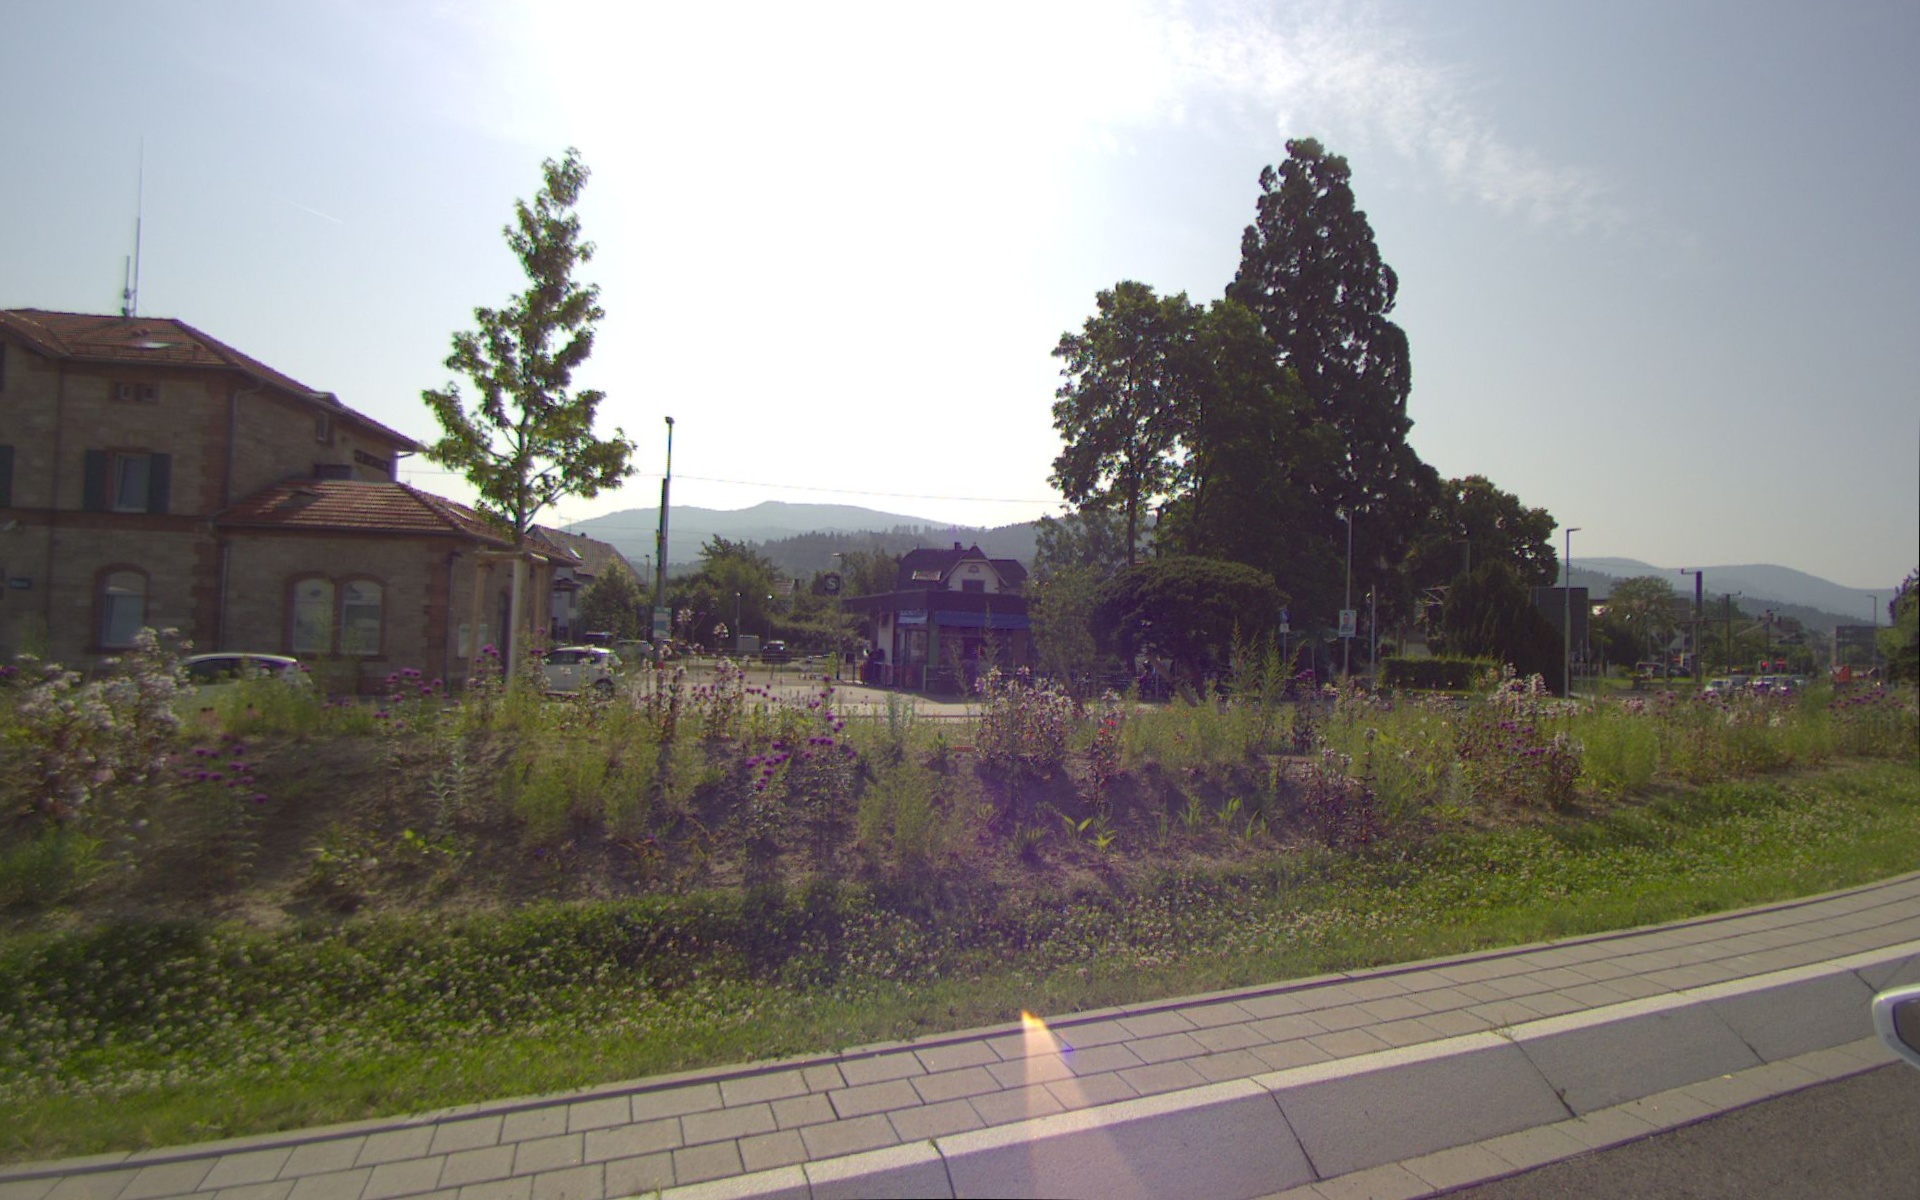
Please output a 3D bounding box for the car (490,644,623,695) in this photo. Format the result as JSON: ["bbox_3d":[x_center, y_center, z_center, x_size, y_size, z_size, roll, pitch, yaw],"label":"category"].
[{"bbox_3d":[-12.202,2.102,30.554,3.474,1.468,1.390,2,-3,-10],"label":"car"}]

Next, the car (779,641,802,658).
[{"bbox_3d":[-14.777,4.340,87.676,1.365,1.382,3.538,1,-3,-1],"label":"car"}]

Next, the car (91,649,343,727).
[{"bbox_3d":[-12.594,1.457,17.159,1.373,1.187,3.227,-1,-4,42],"label":"car"}]

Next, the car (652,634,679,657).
[{"bbox_3d":[-21.076,3.275,71.862,1.585,1.554,3.574,3,-4,-13],"label":"car"}]

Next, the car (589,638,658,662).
[{"bbox_3d":[-20.813,3.117,62.282,3.935,1.358,1.607,3,-4,-17],"label":"car"}]

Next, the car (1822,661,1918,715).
[{"bbox_3d":[36.145,3.460,39.881,3.956,2.040,1.800,3,-3,-32],"label":"car"}]

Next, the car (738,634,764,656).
[{"bbox_3d":[-15.926,3.431,76.662,1.583,1.554,3.578,2,-4,-8],"label":"car"}]
